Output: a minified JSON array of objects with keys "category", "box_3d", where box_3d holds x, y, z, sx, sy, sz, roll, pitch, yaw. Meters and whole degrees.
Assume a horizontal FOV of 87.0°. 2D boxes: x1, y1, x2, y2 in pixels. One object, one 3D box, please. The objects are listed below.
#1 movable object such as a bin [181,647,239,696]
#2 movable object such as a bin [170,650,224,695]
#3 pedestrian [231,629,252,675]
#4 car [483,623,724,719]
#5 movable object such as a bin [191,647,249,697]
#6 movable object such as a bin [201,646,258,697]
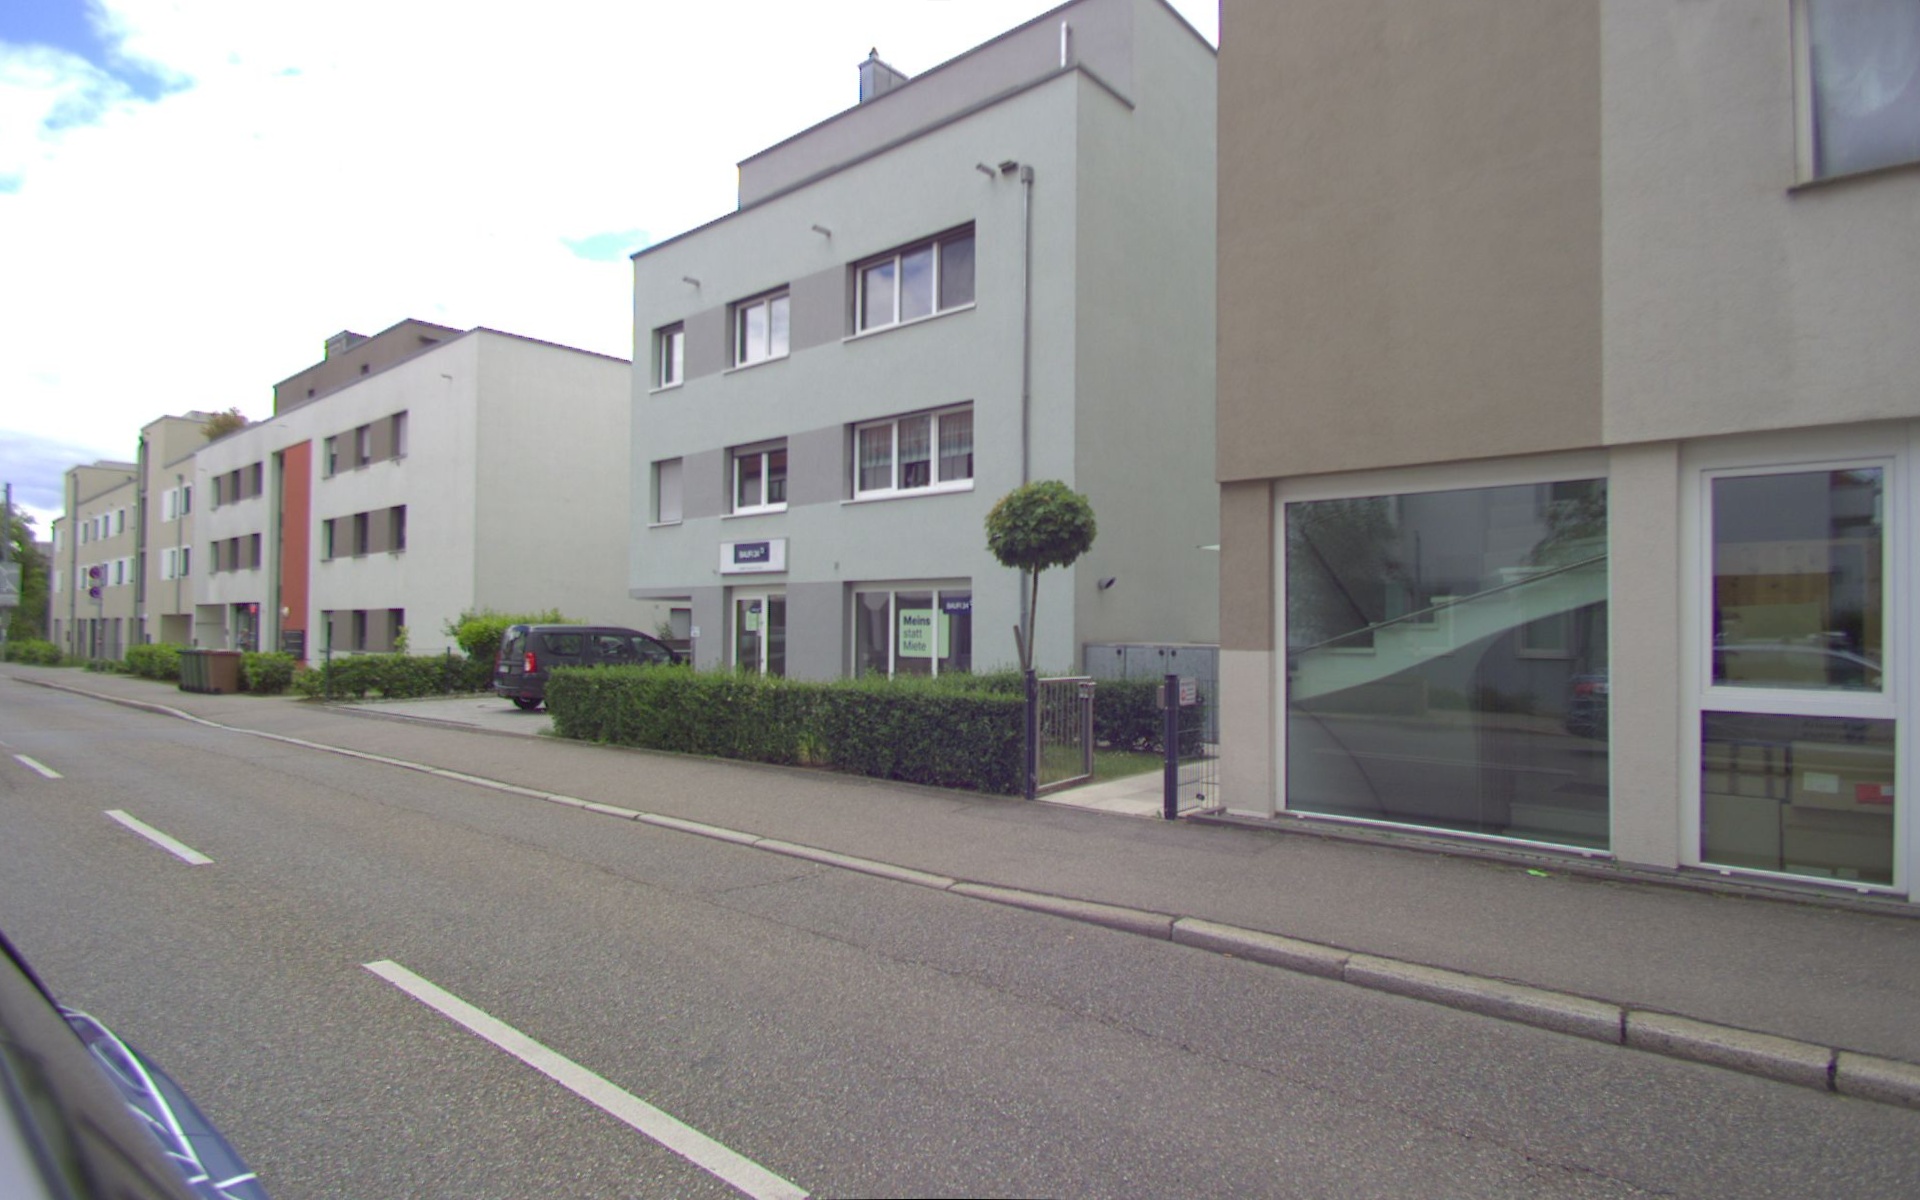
[{"category":"movable object such as a bin","box_3d":[-18.574,1.753,25.077,0.839,1.160,0.947,-2,-2,37]},{"category":"movable object such as a bin","box_3d":[-19.309,1.813,25.622,0.791,1.097,0.886,-2,-2,37]},{"category":"pedestrian","box_3d":[-26.135,1.876,36.828,0.511,1.655,0.642,1,-2,-27]},{"category":"car","box_3d":[-6.877,1.315,19.829,1.725,1.680,4.116,-1,-3,44]},{"category":"movable object such as a bin","box_3d":[-17.943,1.735,24.545,0.748,1.160,0.940,-2,-2,37]},{"category":"movable object such as a bin","box_3d":[-17.393,1.687,24.100,0.612,1.160,0.932,-2,-3,36]}]
